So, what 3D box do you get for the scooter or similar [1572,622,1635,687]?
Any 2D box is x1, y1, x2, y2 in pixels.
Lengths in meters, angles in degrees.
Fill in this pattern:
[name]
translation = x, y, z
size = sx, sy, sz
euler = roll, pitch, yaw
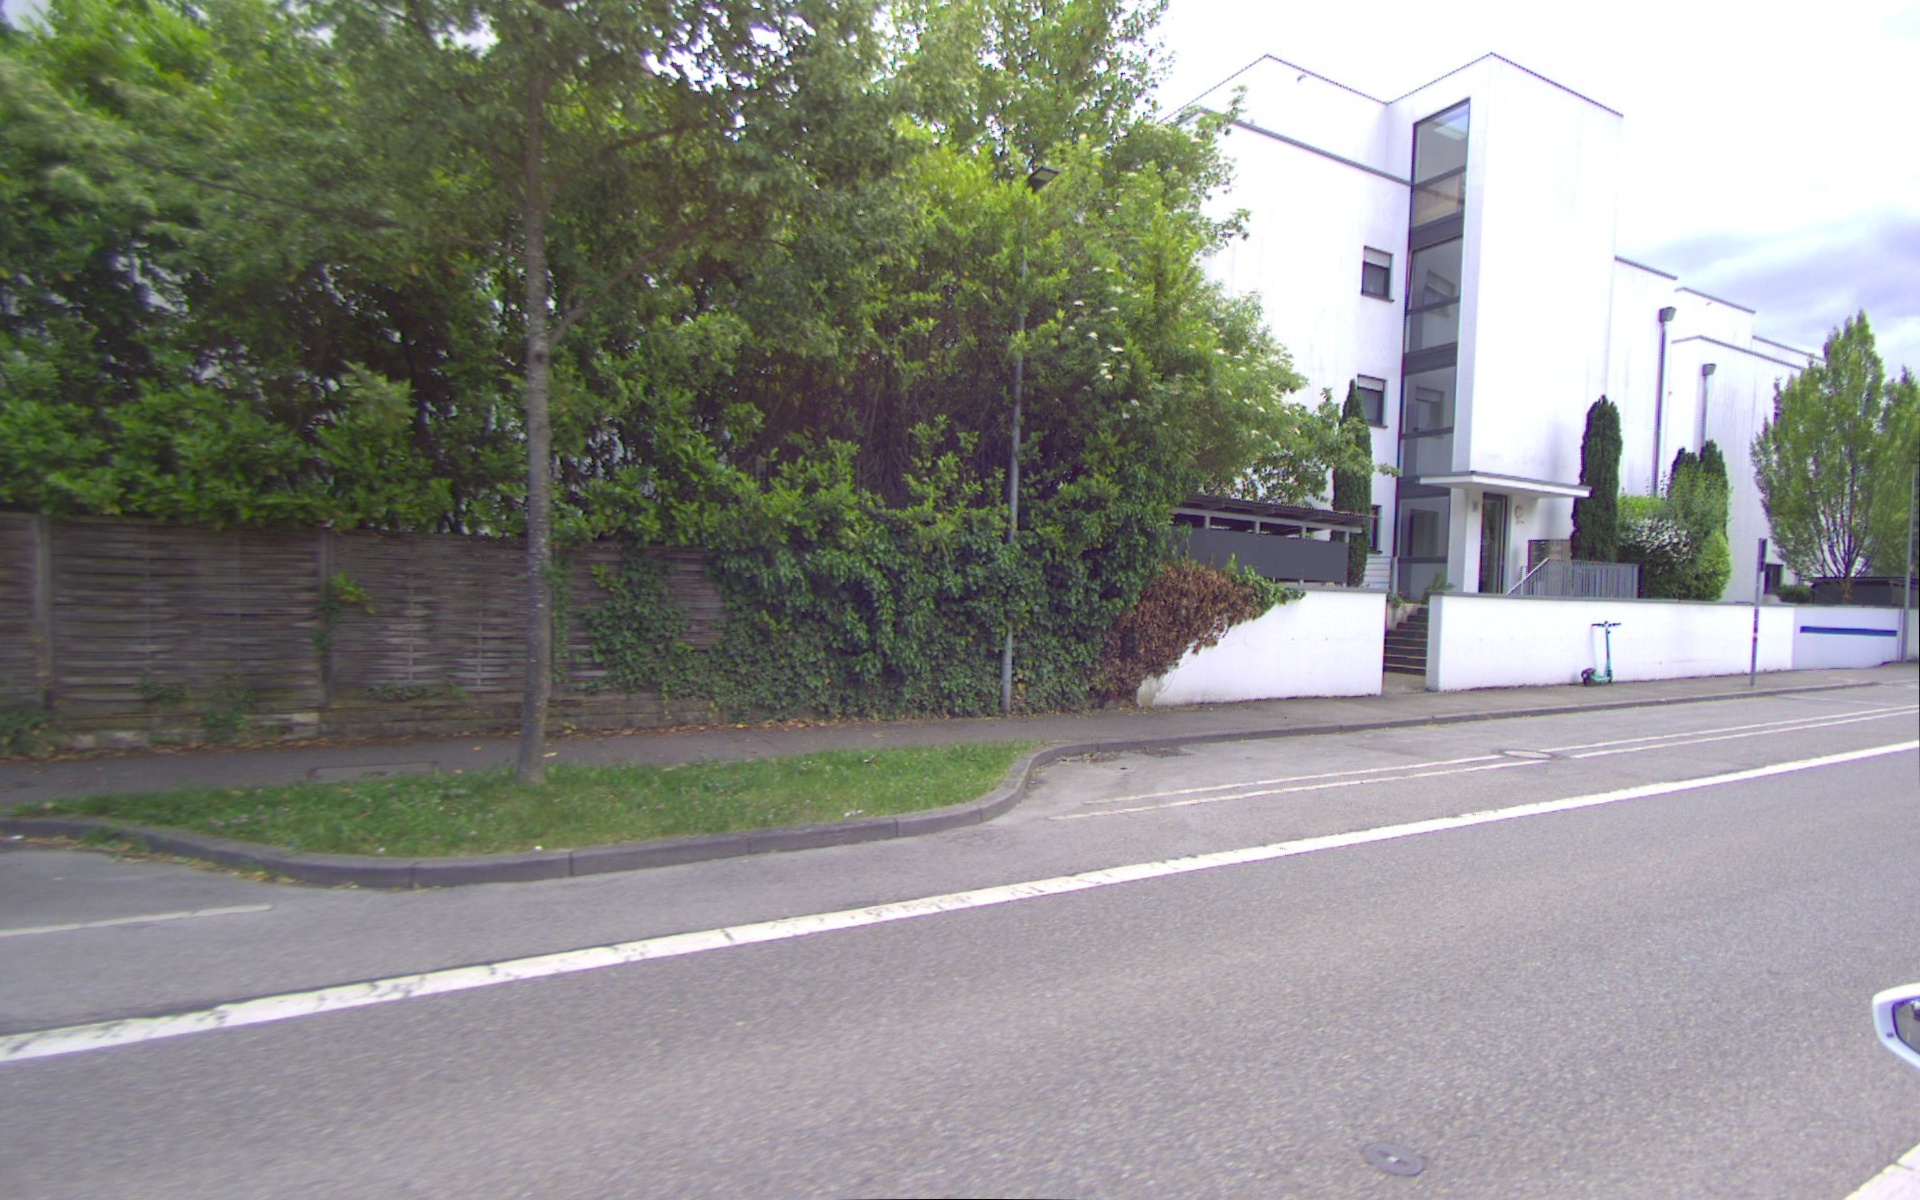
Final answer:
[scooter or similar]
translation = 12.092, 1.005, 18.873
size = 1.287, 1.170, 0.499
euler = 1, 1, -33
